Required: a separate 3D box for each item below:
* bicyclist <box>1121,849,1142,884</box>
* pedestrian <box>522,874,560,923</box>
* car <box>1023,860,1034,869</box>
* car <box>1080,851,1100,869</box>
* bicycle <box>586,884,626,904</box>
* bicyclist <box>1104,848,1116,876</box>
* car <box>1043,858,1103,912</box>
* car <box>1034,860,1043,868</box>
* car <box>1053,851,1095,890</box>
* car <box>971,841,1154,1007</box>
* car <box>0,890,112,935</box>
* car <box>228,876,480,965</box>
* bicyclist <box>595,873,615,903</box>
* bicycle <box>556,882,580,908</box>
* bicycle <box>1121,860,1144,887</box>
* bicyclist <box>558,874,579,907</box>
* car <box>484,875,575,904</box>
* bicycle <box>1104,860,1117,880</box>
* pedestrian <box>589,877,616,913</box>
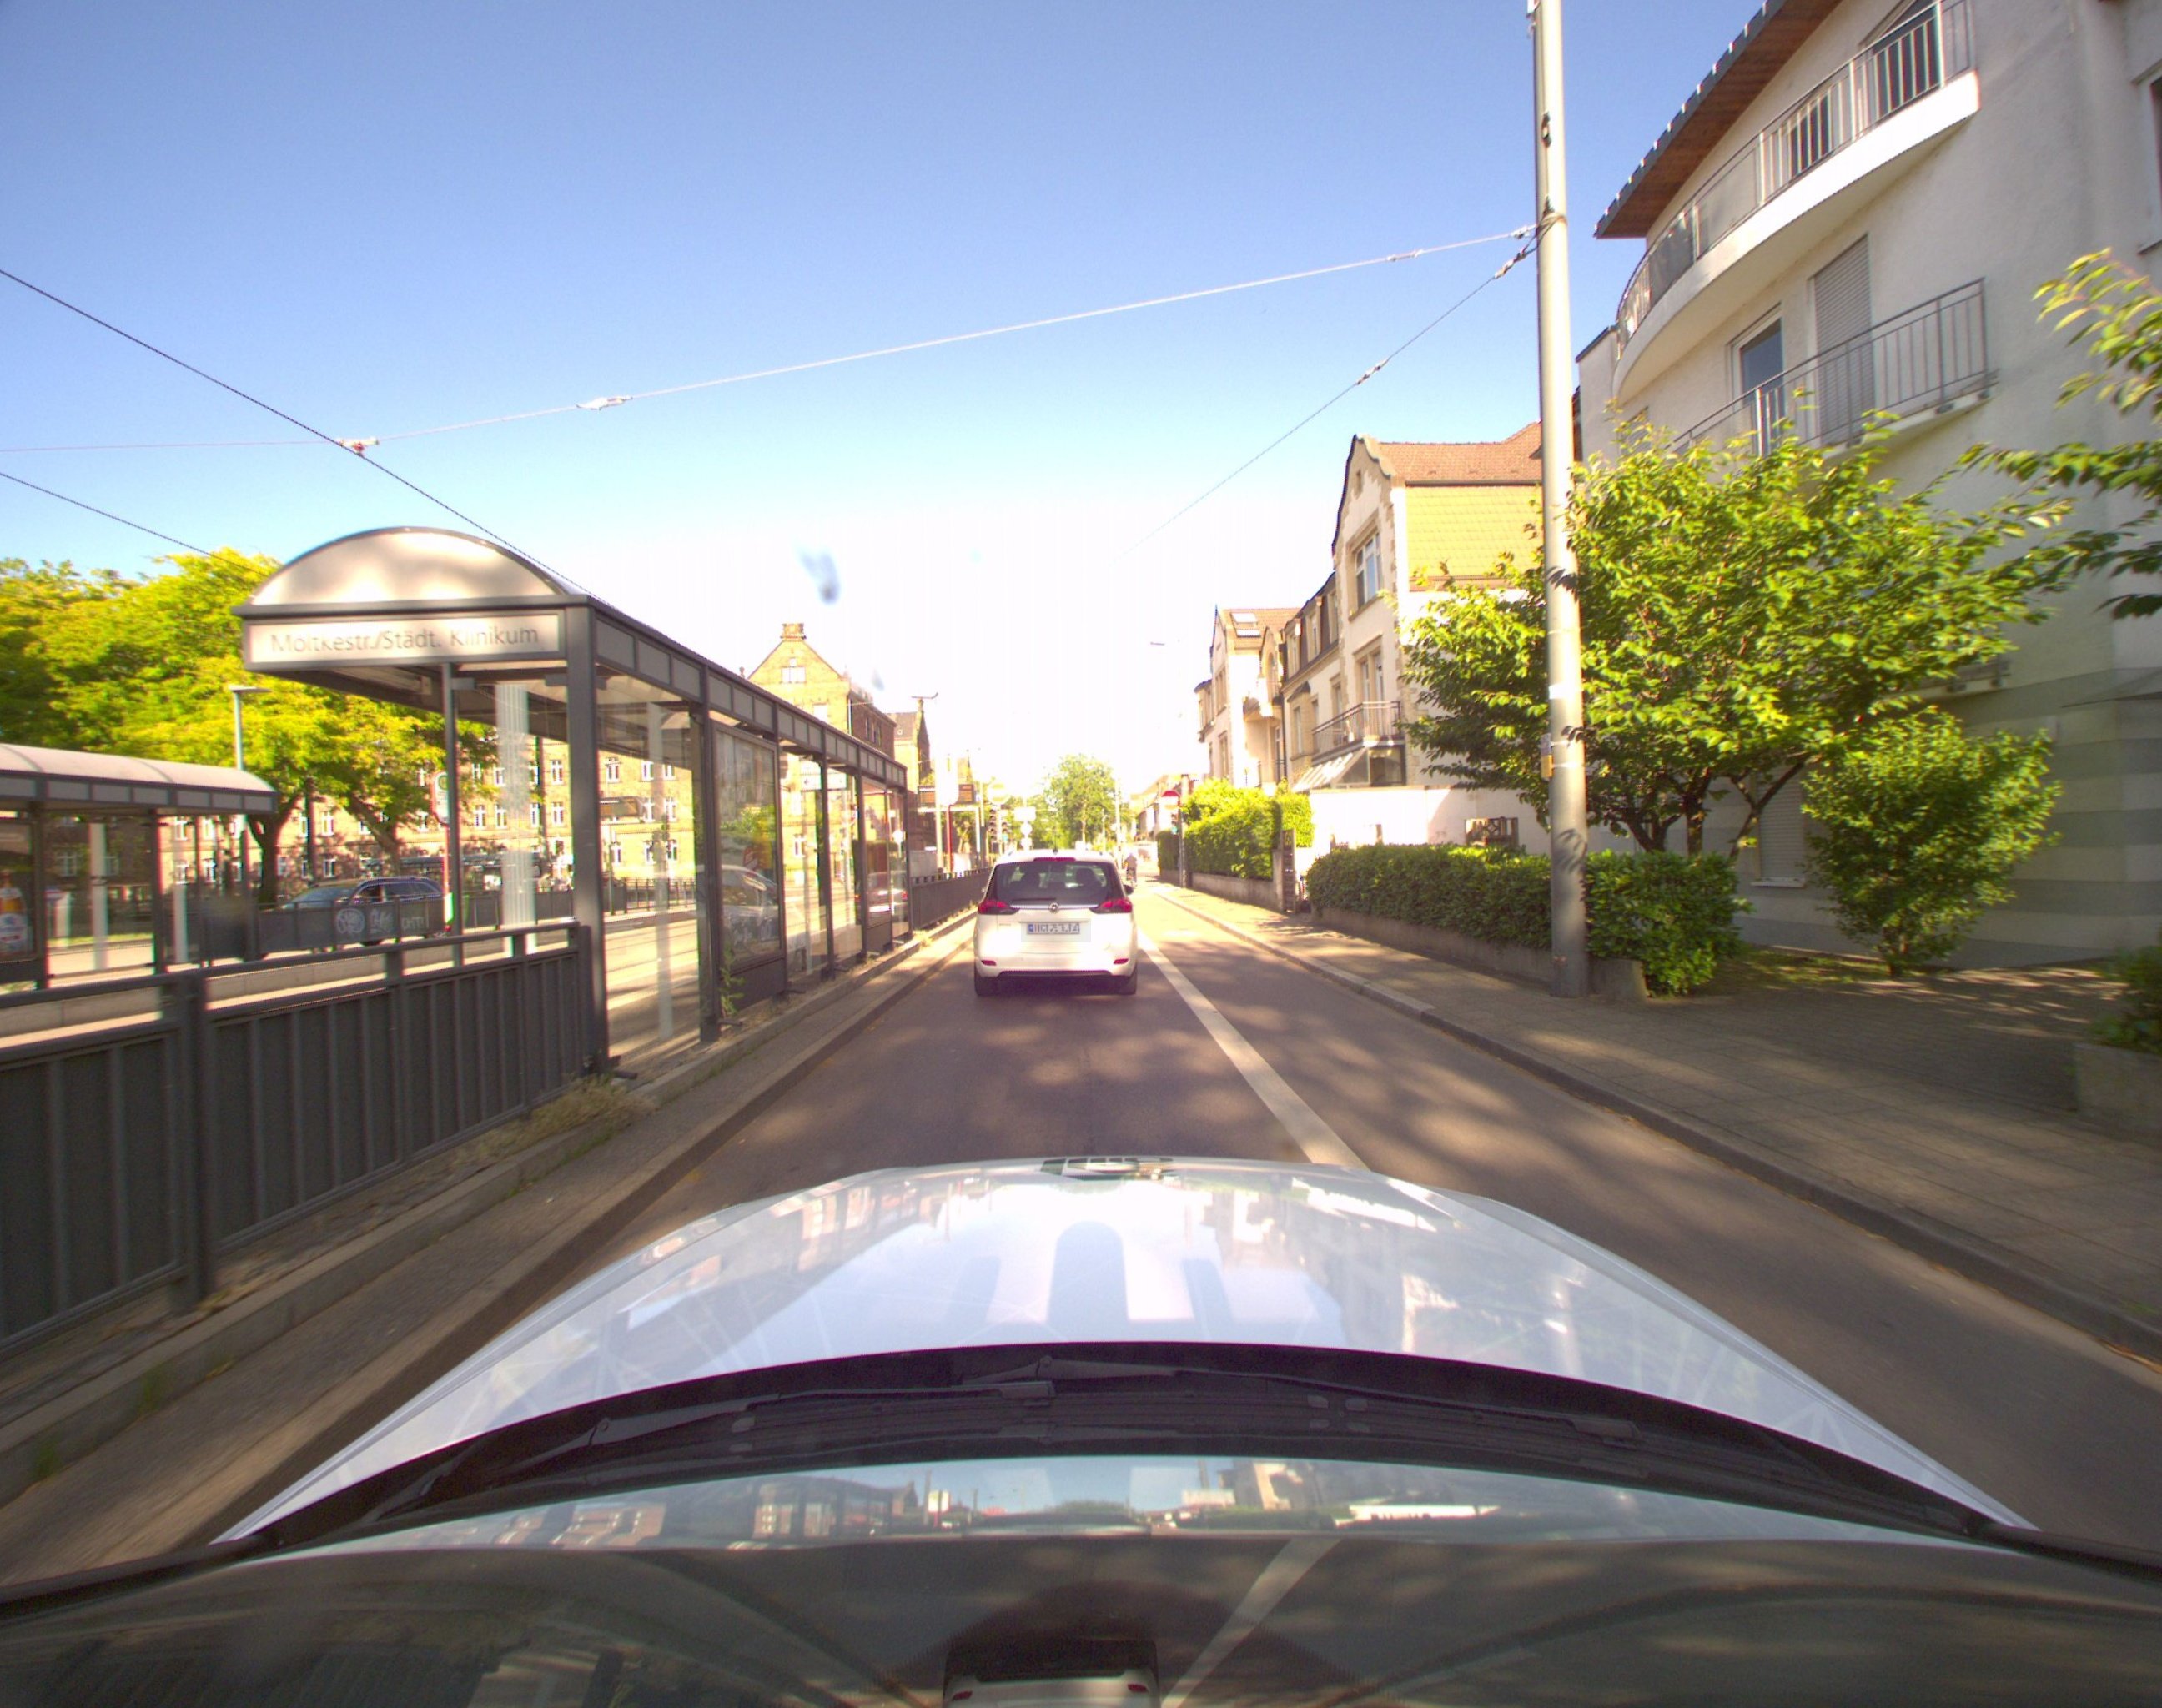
[{"bbox_3d":[2.230,0.555,35.899,0.819,1.501,0.934,-2,-1,-1],"label":"bicyclist"},{"bbox_3d":[-21.371,1.753,32.270,0.724,1.861,1.097,-2,-1,2],"label":"pedestrian"},{"bbox_3d":[-8.946,1.789,138.767,1.575,1.441,3.586,-2,-1,2],"label":"car"},{"bbox_3d":[0.921,0.588,79.855,1.769,1.632,3.882,-2,-1,2],"label":"car"},{"bbox_3d":[-26.526,2.243,45.452,1.729,1.013,0.801,-2,-1,-1],"label":"bicycle"},{"bbox_3d":[1.749,0.466,48.714,0.683,1.634,1.016,-2,-1,2],"label":"bicyclist"},{"bbox_3d":[-0.163,0.864,24.419,1.580,1.420,3.901,-3,0,1],"label":"car"},{"bbox_3d":[-8.477,1.988,162.635,1.575,1.441,3.586,-2,-1,2],"label":"car"},{"bbox_3d":[-0.323,0.727,37.164,1.770,1.632,3.879,-2,-1,0],"label":"car"},{"bbox_3d":[-0.180,0.733,10.295,1.829,1.642,3.918,-2,-1,0],"label":"car"},{"bbox_3d":[-63.386,3.570,49.928,5.015,2.453,2.259,-2,-1,-2],"label":"car"},{"bbox_3d":[-16.834,1.452,19.229,1.899,1.677,4.359,-2,0,2],"label":"car"},{"bbox_3d":[-26.554,1.869,45.455,0.632,1.636,0.801,-2,-1,0],"label":"bicyclist"},{"bbox_3d":[-22.109,1.755,35.104,0.695,1.049,1.655,-1,-1,-26],"label":"bicycle"},{"bbox_3d":[2.245,0.855,35.979,0.827,1.154,2.093,-2,-1,-1],"label":"bicycle"},{"bbox_3d":[-22.127,1.552,35.135,0.692,1.383,0.529,-1,-1,-27],"label":"bicyclist"},{"bbox_3d":[-32.625,2.093,48.258,4.049,1.522,1.878,-2,-1,1],"label":"car"},{"bbox_3d":[1.768,0.939,48.694,0.683,1.157,1.620,-2,-1,2],"label":"bicycle"},{"bbox_3d":[-21.284,1.809,36.246,0.568,1.569,0.836,-1,0,20],"label":"pedestrian"}]
